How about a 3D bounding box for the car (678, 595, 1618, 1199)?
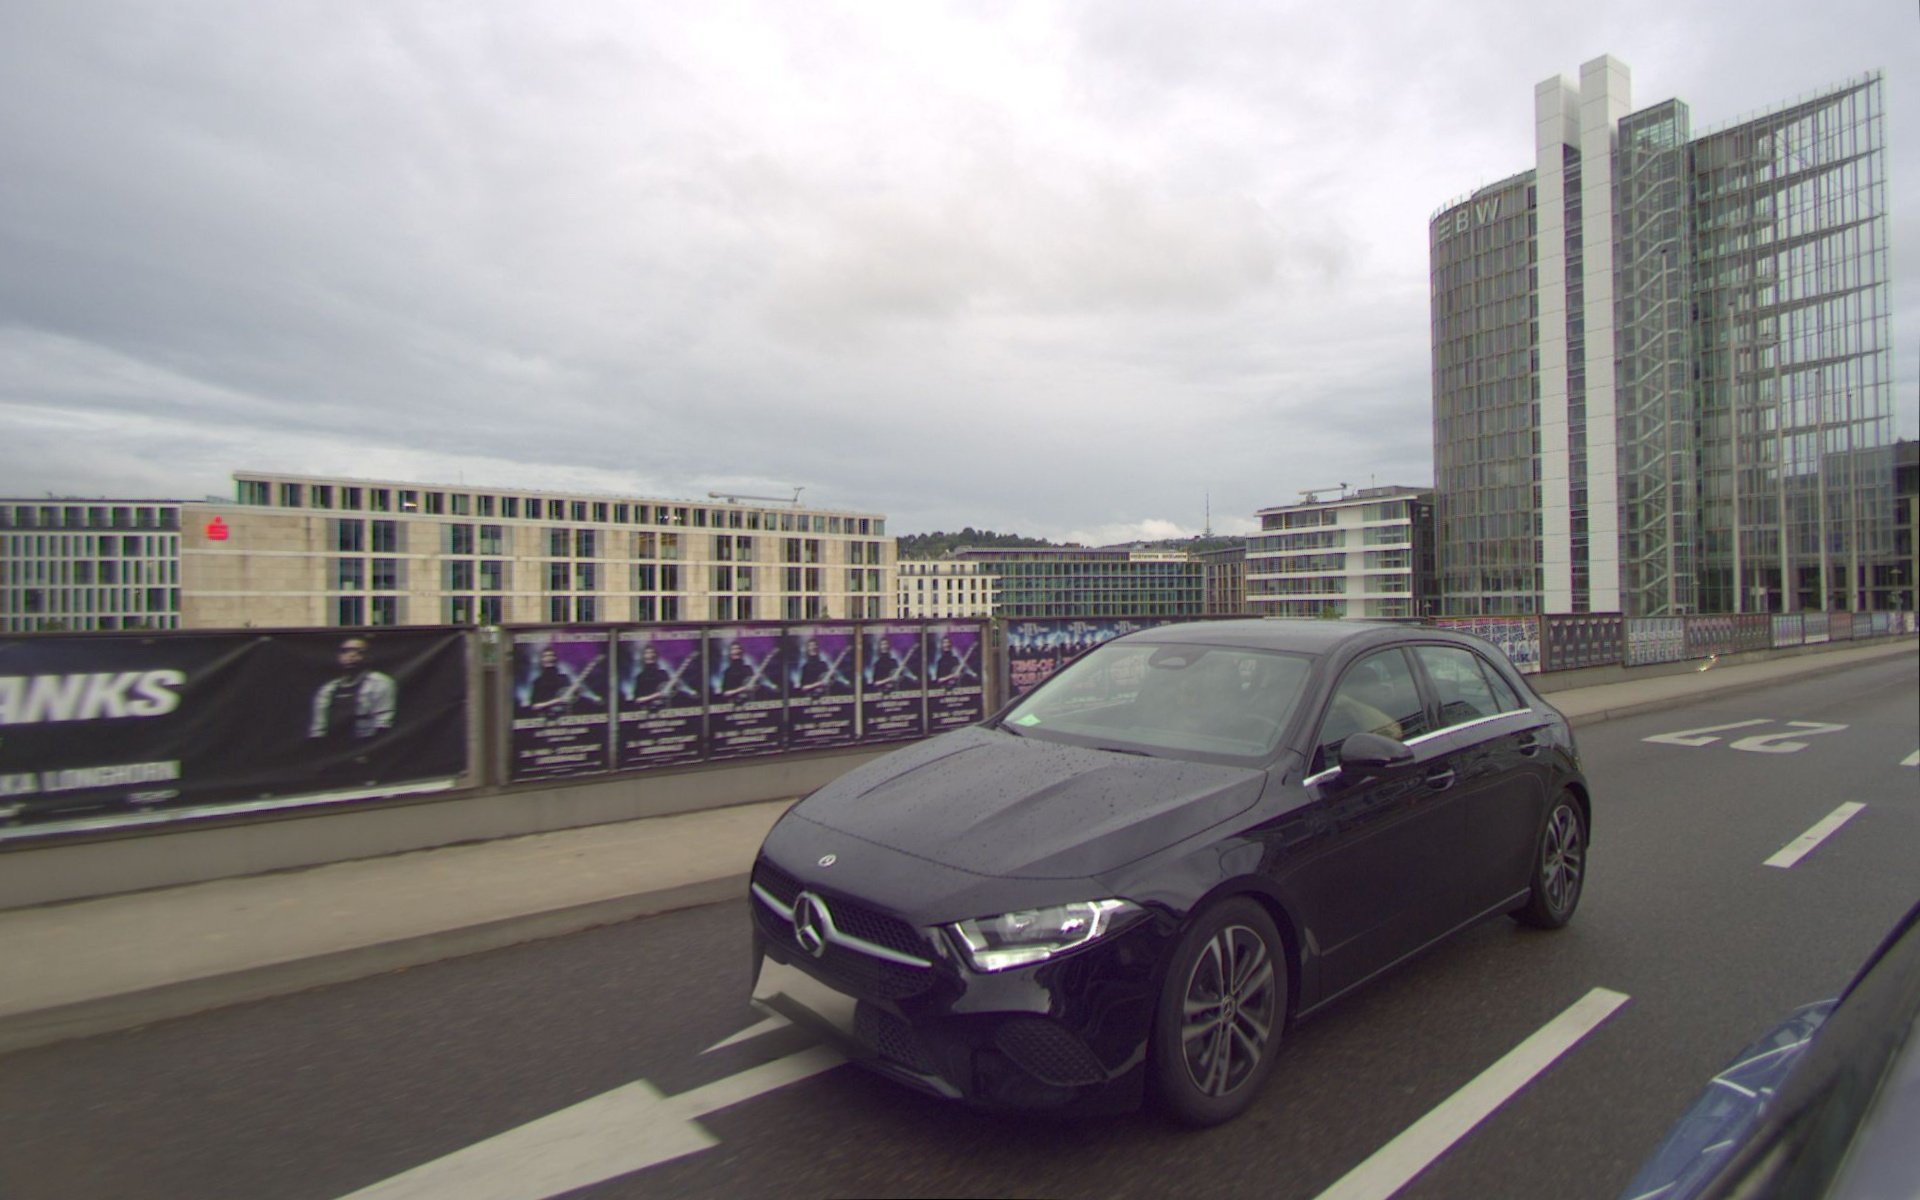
[{"bbox_3d":[1.113,0.716,4.244,4.083,1.393,1.726,-2,1,-41],"label":"car"}]
